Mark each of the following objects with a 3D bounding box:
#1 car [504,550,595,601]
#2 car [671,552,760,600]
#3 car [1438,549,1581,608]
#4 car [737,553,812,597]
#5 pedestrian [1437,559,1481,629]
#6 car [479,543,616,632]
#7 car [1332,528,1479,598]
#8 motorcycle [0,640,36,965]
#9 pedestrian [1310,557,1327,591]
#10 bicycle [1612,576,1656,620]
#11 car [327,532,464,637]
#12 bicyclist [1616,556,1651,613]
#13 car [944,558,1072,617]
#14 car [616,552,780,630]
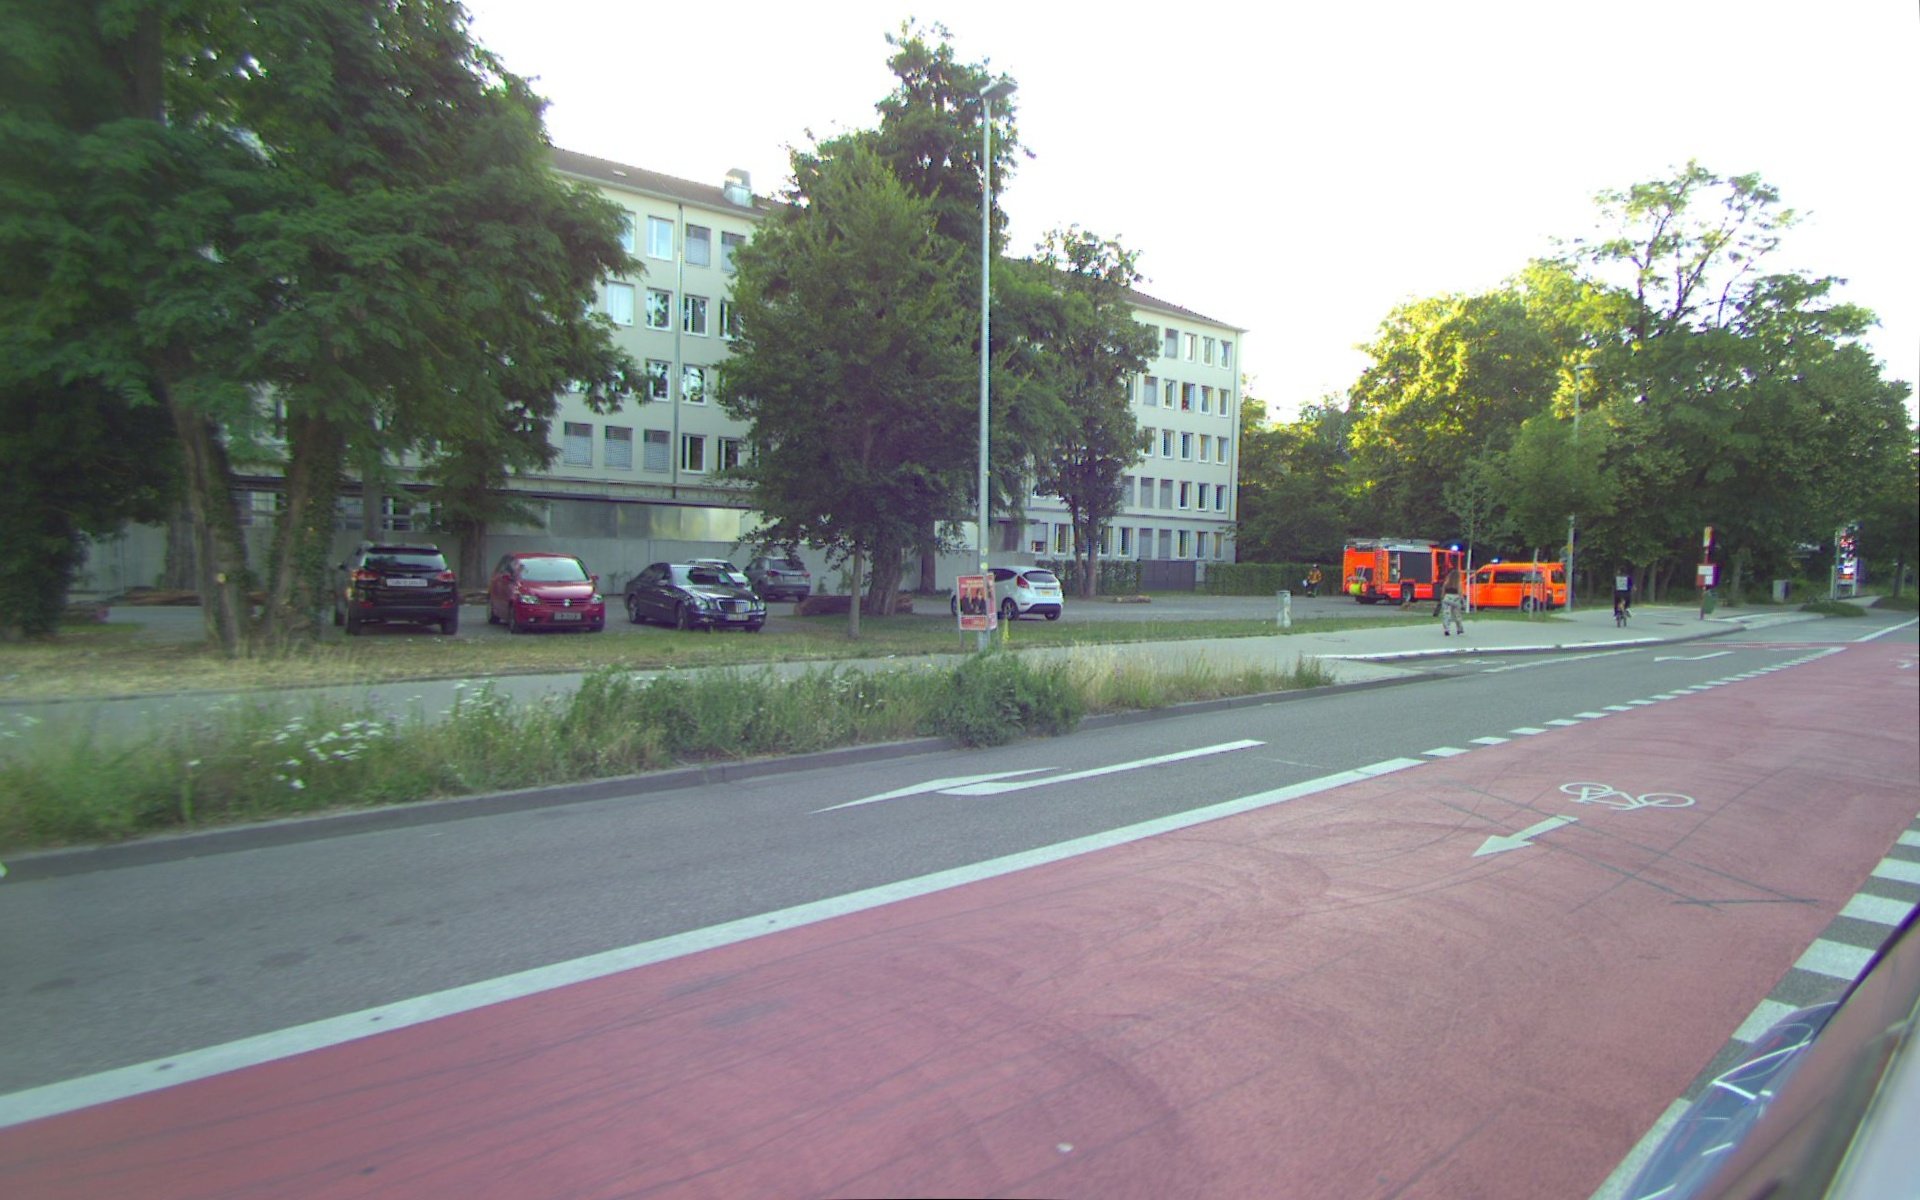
[{"bbox_3d":[-13.026,-0.794,32.019,1.738,1.477,3.626,-1,3,-38],"label":"car"},{"bbox_3d":[-8.519,-0.861,35.007,1.880,1.540,3.921,0,3,-32],"label":"car"},{"bbox_3d":[24.277,-1.023,44.885,1.963,2.422,5.168,0,3,-37],"label":"car"},{"bbox_3d":[-6.704,-0.924,36.404,1.734,1.477,3.320,0,3,-28],"label":"car"},{"bbox_3d":[11.925,-0.154,24.167,0.676,1.642,0.682,0,2,-41],"label":"pedestrian"},{"bbox_3d":[-8.604,-0.331,20.920,1.882,1.630,4.003,0,3,-33],"label":"car"},{"bbox_3d":[22.458,-1.836,50.842,8.139,3.283,2.775,0,3,-34],"label":"car"},{"bbox_3d":[-4.579,0.790,3.565,1.857,1.212,0.685,0,1,-33],"label":"motorcycle"},{"bbox_3d":[20.131,-1.458,56.814,0.677,1.864,0.837,3,2,30],"label":"pedestrian"},{"bbox_3d":[20.055,-0.068,30.101,1.866,1.256,0.571,-1,3,-41],"label":"bicycle"},{"bbox_3d":[-10.786,-0.367,19.185,1.882,1.761,4.241,0,3,-35],"label":"car"},{"bbox_3d":[19.975,-0.474,30.016,1.020,1.652,0.571,-1,3,-41],"label":"bicyclist"},{"bbox_3d":[1.282,-0.397,28.182,1.633,1.477,3.667,0,3,-35],"label":"car"},{"bbox_3d":[-5.879,-0.266,22.314,1.884,1.481,4.519,-1,3,-37],"label":"car"}]
